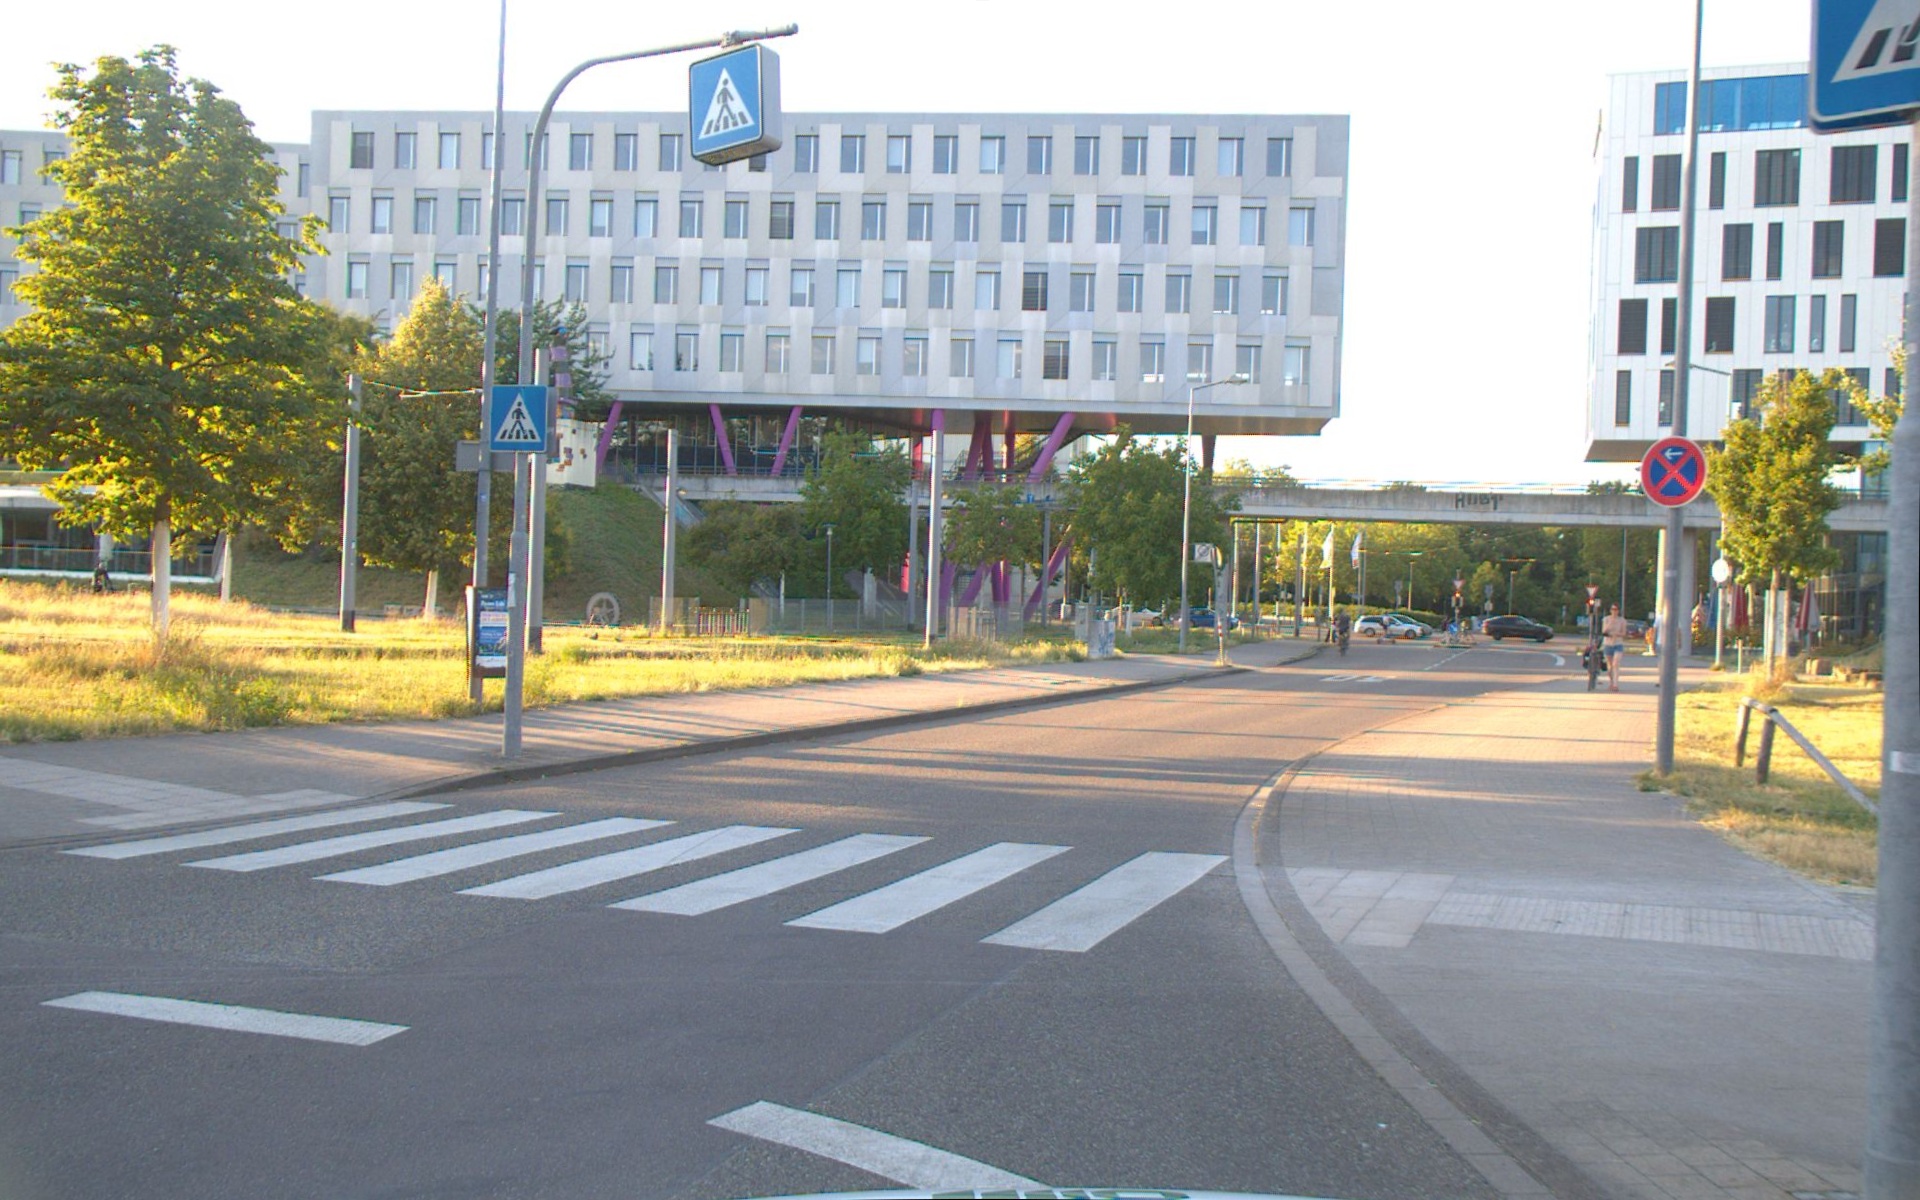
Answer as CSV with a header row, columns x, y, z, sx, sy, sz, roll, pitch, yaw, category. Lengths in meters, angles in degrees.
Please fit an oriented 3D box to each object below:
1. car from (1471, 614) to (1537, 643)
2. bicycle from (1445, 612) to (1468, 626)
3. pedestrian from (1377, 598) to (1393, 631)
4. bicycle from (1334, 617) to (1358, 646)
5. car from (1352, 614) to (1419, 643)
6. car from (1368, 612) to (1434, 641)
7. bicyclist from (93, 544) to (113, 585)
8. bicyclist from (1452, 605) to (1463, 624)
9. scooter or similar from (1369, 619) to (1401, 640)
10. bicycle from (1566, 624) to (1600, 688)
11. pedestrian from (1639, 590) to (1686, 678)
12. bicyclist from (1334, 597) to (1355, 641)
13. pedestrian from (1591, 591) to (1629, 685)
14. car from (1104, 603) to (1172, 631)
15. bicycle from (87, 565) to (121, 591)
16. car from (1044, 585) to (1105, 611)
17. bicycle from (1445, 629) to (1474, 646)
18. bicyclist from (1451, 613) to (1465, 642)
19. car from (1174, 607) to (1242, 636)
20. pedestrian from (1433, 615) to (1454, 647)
x,y,z,sx,sy,sz,roll,pitch,yaw,category
38.473,2.025,117.006,4.323,1.830,1.835,2,2,21,car
44.998,1.733,149.840,1.924,1.148,0.560,1,1,-6,bicycle
26.360,0.906,102.624,0.889,2.025,0.772,2,1,12,pedestrian
15.241,1.225,65.228,0.528,1.061,1.924,2,2,24,bicycle
29.284,1.932,113.719,4.321,1.754,1.836,2,2,18,car
31.057,1.858,116.443,4.323,1.830,1.835,2,2,21,car
-31.645,-1.310,61.069,0.502,1.520,0.424,2,1,22,bicyclist
45.092,1.314,149.842,0.742,1.753,0.552,1,1,-5,bicyclist
26.359,1.840,102.630,1.820,1.194,0.765,2,1,12,scooter or similar
12.560,1.106,33.335,0.441,1.189,1.939,2,2,25,bicycle
14.928,0.708,35.134,0.815,1.797,0.817,2,1,27,pedestrian
15.179,0.738,65.265,0.602,1.691,1.036,2,1,24,bicyclist
12.997,0.741,33.074,0.583,1.833,0.817,2,1,27,pedestrian
13.075,1.244,121.598,4.590,1.860,1.835,2,2,21,car
-31.596,-0.818,61.060,1.206,0.916,0.431,2,1,21,bicycle
8.899,-0.135,128.788,4.374,1.848,1.946,2,2,19,car
30.574,2.281,101.241,1.658,0.965,0.512,2,1,19,bicycle
30.489,1.660,101.260,0.750,1.734,0.512,2,1,19,bicyclist
17.551,1.491,116.964,4.613,1.860,1.894,2,2,11,car
28.872,1.861,98.796,1.031,1.865,0.896,1,1,6,pedestrian
